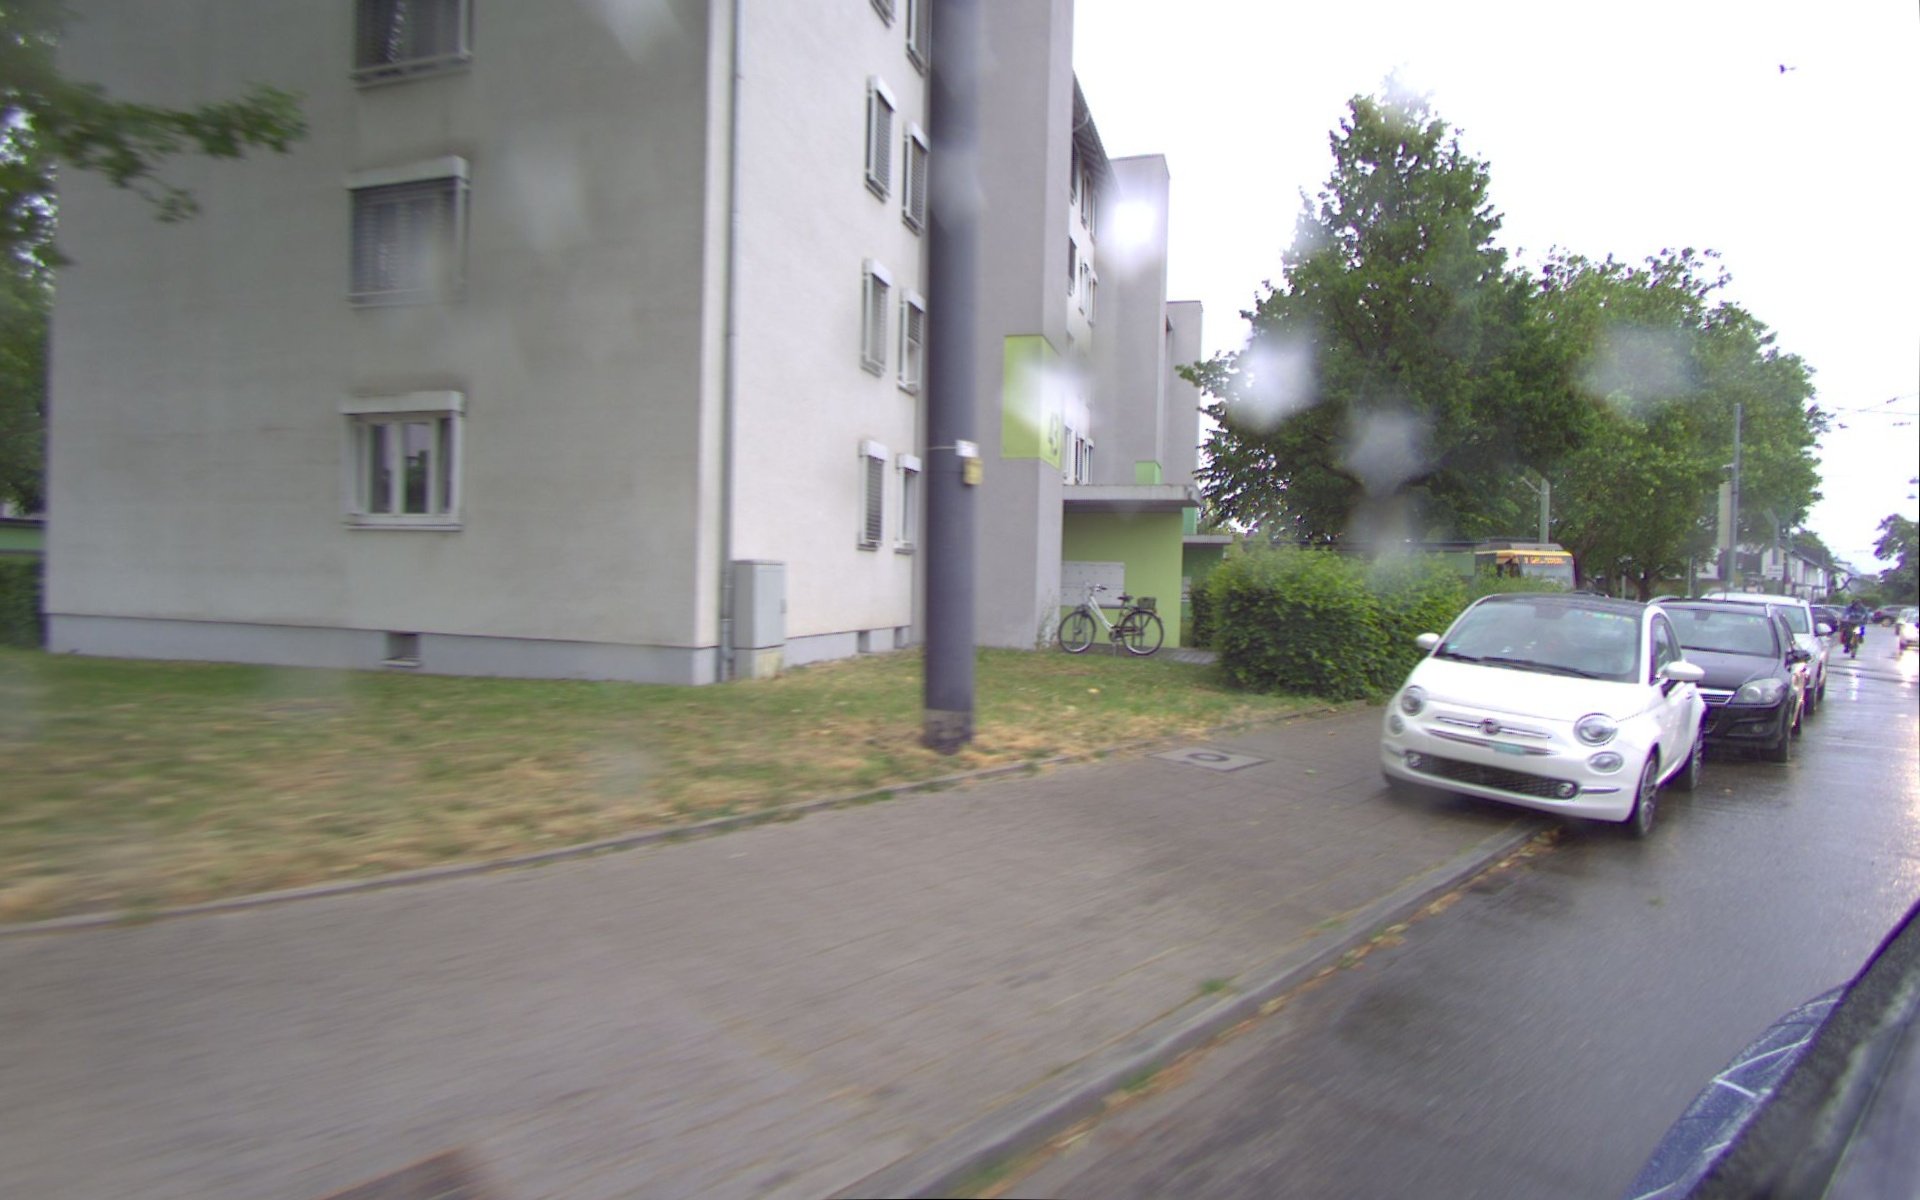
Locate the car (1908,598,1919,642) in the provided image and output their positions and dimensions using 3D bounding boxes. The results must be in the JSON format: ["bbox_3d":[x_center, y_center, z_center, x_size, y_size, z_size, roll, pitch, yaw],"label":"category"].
[{"bbox_3d":[35.604,0.728,36.585,1.849,1.527,4.056,3,2,43],"label":"car"}]

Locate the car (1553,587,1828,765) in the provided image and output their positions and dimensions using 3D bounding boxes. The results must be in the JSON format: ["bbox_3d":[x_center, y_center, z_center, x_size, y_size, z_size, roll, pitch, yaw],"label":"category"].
[{"bbox_3d":[7.983,0.647,10.894,1.899,1.467,4.120,3,2,43],"label":"car"}]

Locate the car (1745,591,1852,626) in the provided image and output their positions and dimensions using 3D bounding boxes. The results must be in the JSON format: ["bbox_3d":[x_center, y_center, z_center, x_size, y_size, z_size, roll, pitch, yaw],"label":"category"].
[{"bbox_3d":[41.114,0.394,49.707,3.660,1.502,1.609,2,2,19],"label":"car"}]

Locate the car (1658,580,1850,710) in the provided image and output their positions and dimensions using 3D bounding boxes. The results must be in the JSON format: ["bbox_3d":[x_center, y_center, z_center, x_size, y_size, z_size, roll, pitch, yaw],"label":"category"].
[{"bbox_3d":[11.847,0.552,15.002,1.899,1.594,4.048,3,2,43],"label":"car"}]

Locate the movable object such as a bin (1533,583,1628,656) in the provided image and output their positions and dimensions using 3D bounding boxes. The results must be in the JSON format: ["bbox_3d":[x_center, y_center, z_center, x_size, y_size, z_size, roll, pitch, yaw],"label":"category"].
[{"bbox_3d":[13.203,0.383,21.593,1.132,1.458,1.475,2,1,5],"label":"movable object such as a bin"}]

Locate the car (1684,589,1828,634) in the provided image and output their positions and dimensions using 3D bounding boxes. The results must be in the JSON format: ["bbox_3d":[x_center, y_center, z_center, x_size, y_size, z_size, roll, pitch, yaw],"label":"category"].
[{"bbox_3d":[30.516,0.419,38.911,3.938,1.546,1.714,2,1,12],"label":"car"}]

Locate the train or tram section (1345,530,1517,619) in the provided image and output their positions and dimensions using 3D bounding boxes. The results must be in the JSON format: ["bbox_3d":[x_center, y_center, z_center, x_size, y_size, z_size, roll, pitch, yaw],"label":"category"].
[{"bbox_3d":[20.398,-1.165,44.794,2.705,3.381,10.354,2,2,0],"label":"train or tram section"}]

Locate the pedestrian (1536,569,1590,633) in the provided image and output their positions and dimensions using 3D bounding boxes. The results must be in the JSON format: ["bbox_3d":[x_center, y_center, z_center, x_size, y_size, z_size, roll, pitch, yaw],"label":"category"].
[{"bbox_3d":[17.499,0.011,29.401,0.847,1.796,1.020,2,1,-6],"label":"pedestrian"}]

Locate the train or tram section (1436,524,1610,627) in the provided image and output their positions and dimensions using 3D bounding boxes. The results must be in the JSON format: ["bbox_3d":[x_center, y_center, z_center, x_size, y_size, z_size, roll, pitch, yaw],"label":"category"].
[{"bbox_3d":[20.376,-0.925,37.149,2.705,3.381,6.402,2,2,0],"label":"train or tram section"}]

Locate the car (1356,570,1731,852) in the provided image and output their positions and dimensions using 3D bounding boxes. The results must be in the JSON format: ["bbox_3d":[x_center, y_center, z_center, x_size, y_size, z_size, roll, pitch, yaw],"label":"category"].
[{"bbox_3d":[4.564,0.602,7.631,1.558,1.538,3.938,3,2,43],"label":"car"}]

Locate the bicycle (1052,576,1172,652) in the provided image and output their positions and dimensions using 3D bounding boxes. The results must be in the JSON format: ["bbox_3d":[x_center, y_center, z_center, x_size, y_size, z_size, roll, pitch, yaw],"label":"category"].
[{"bbox_3d":[2.466,0.214,16.402,1.839,1.156,0.529,2,0,21],"label":"bicycle"}]

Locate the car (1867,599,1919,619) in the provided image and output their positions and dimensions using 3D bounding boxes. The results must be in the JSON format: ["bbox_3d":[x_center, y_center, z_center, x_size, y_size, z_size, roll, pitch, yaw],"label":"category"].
[{"bbox_3d":[75.184,0.709,80.373,2.064,1.449,4.285,1,1,-28],"label":"car"}]

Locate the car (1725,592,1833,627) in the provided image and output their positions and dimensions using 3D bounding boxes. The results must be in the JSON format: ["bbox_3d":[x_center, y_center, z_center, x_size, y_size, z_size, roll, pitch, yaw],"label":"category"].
[{"bbox_3d":[38.384,0.424,47.522,3.530,1.477,1.610,2,2,18],"label":"car"}]

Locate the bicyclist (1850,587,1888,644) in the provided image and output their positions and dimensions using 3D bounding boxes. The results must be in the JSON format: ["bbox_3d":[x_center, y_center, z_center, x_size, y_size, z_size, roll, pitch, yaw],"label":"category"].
[{"bbox_3d":[25.095,0.414,27.943,0.709,1.531,0.704,3,2,44],"label":"bicyclist"}]

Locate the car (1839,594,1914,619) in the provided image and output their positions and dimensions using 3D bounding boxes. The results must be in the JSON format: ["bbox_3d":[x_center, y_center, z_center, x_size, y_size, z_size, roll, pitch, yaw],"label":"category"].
[{"bbox_3d":[68.877,0.483,76.092,1.644,1.743,3.993,0,1,-42],"label":"car"}]

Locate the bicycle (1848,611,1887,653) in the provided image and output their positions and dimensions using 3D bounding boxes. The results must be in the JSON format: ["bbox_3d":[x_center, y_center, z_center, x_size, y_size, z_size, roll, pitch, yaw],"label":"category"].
[{"bbox_3d":[24.992,0.860,27.861,0.709,1.050,2.066,3,2,43],"label":"bicycle"}]
